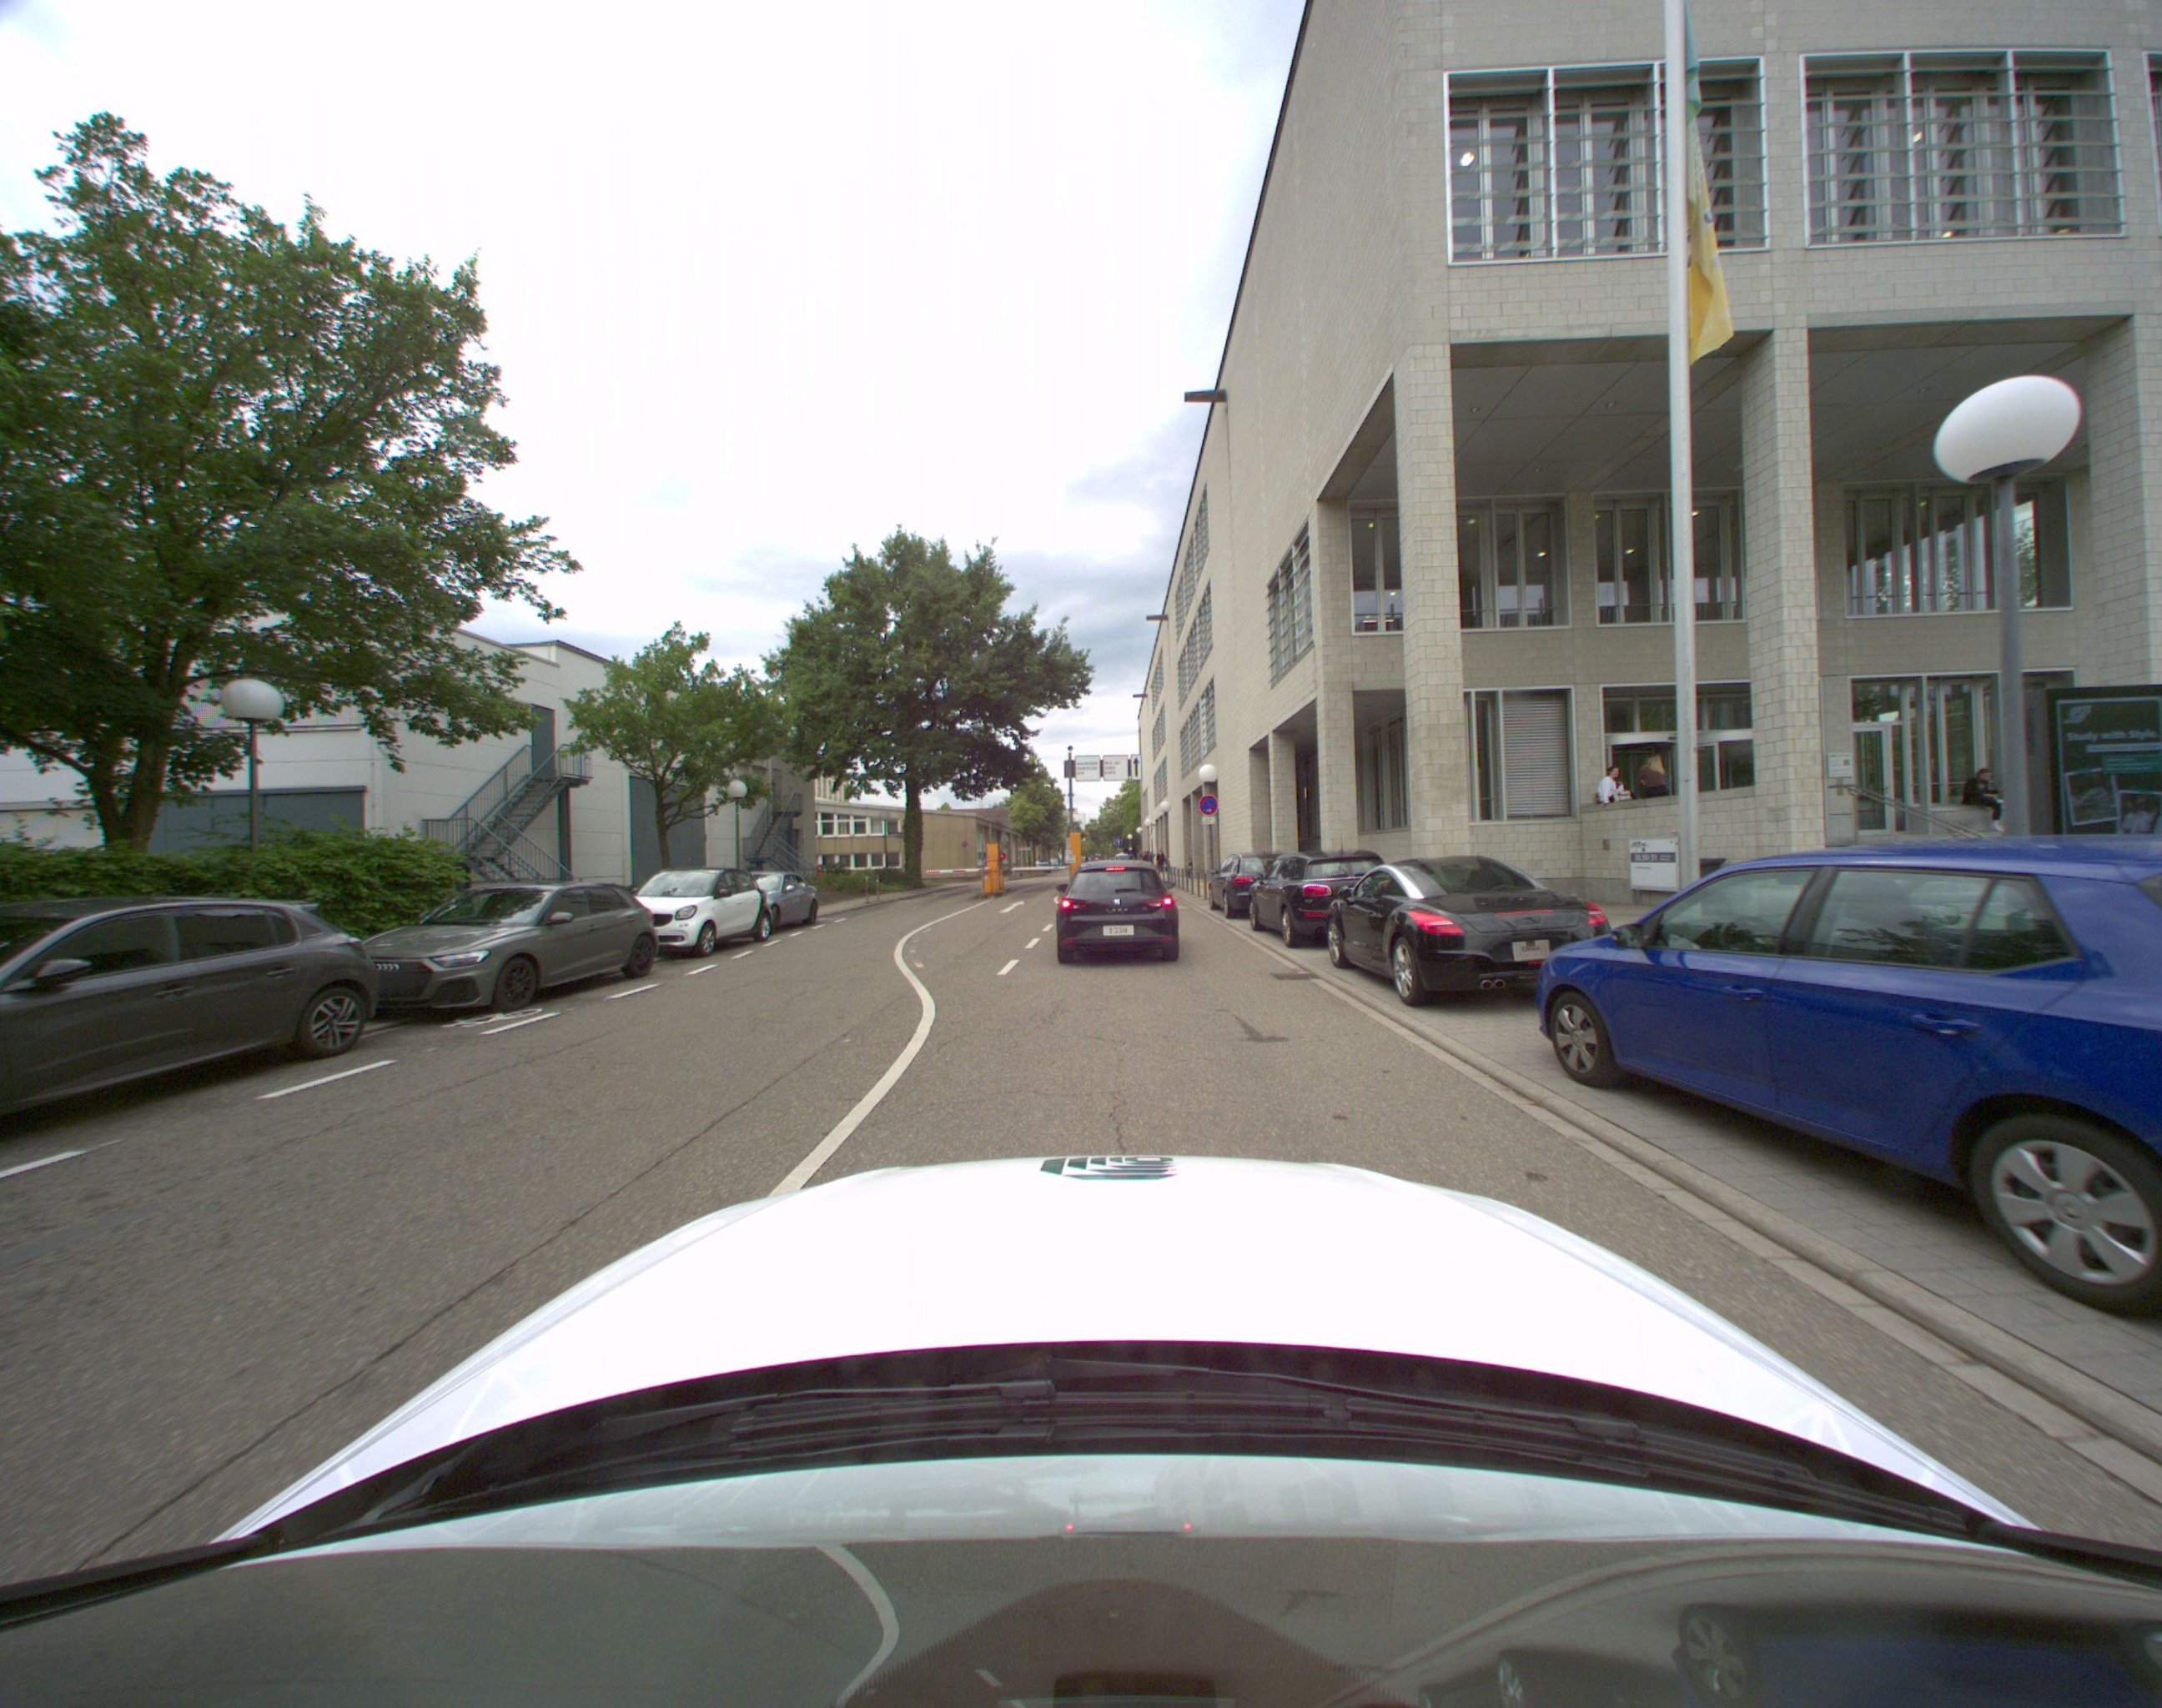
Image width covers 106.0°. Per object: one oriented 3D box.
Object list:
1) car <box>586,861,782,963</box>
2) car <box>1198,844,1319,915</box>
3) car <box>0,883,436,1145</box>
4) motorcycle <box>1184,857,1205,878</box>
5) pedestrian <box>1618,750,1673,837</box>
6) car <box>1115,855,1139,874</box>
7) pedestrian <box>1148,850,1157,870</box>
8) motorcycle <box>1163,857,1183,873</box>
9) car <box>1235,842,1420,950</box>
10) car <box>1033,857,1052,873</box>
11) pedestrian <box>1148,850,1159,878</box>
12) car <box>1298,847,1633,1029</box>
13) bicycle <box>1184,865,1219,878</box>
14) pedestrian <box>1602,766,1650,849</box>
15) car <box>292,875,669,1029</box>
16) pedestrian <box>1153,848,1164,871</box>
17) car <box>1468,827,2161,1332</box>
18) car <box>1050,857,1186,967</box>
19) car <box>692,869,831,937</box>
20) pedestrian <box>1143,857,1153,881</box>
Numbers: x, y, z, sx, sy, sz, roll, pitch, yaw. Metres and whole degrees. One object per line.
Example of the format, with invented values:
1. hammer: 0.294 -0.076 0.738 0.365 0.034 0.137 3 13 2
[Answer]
1. car: -7.266 0.968 15.379 1.710 1.586 3.878 -1 0 1
2. car: 4.153 0.563 19.880 1.986 1.452 4.924 -2 -1 2
3. car: -7.299 1.042 6.109 1.755 1.471 3.826 -2 -1 1
4. motorcycle: 6.824 0.818 48.883 0.560 1.148 2.230 0 2 26
5. pedestrian: 11.062 -1.162 15.989 0.797 1.658 0.635 0 2 26
6. car: 4.146 0.993 74.466 1.987 1.623 4.428 -3 -1 1
7. pedestrian: 6.244 0.494 71.123 0.693 1.714 0.490 -1 -1 5
8. motorcycle: 7.421 0.847 65.532 0.752 1.148 2.679 0 2 26
9. car: 3.994 0.615 14.042 1.811 1.443 4.520 -3 0 1
10. car: -4.070 1.117 86.626 1.764 1.601 4.000 -1 0 1
11. pedestrian: 4.681 0.644 52.291 0.608 1.714 0.575 -3 -1 5
12. car: 3.865 0.700 9.151 1.841 1.442 4.422 -2 1 3
13. bicycle: 6.776 0.989 45.766 1.892 0.698 0.492 -1 2 -3
14. pedestrian: 11.292 -0.949 16.898 0.624 1.658 0.811 0 2 18
15. car: -7.173 1.056 10.353 1.757 1.412 4.008 -2 0 0
16. pedestrian: 5.808 0.387 60.851 0.726 1.698 0.587 -1 2 -4
17. car: 3.841 0.633 3.970 1.690 1.411 4.373 -3 -1 -2
18. car: 0.534 0.781 12.905 1.776 1.419 4.130 -1 0 1
19. car: -7.743 1.128 20.208 1.812 1.389 4.192 -1 0 -1
20. pedestrian: 4.884 1.110 59.527 0.686 1.698 0.589 -1 2 5
